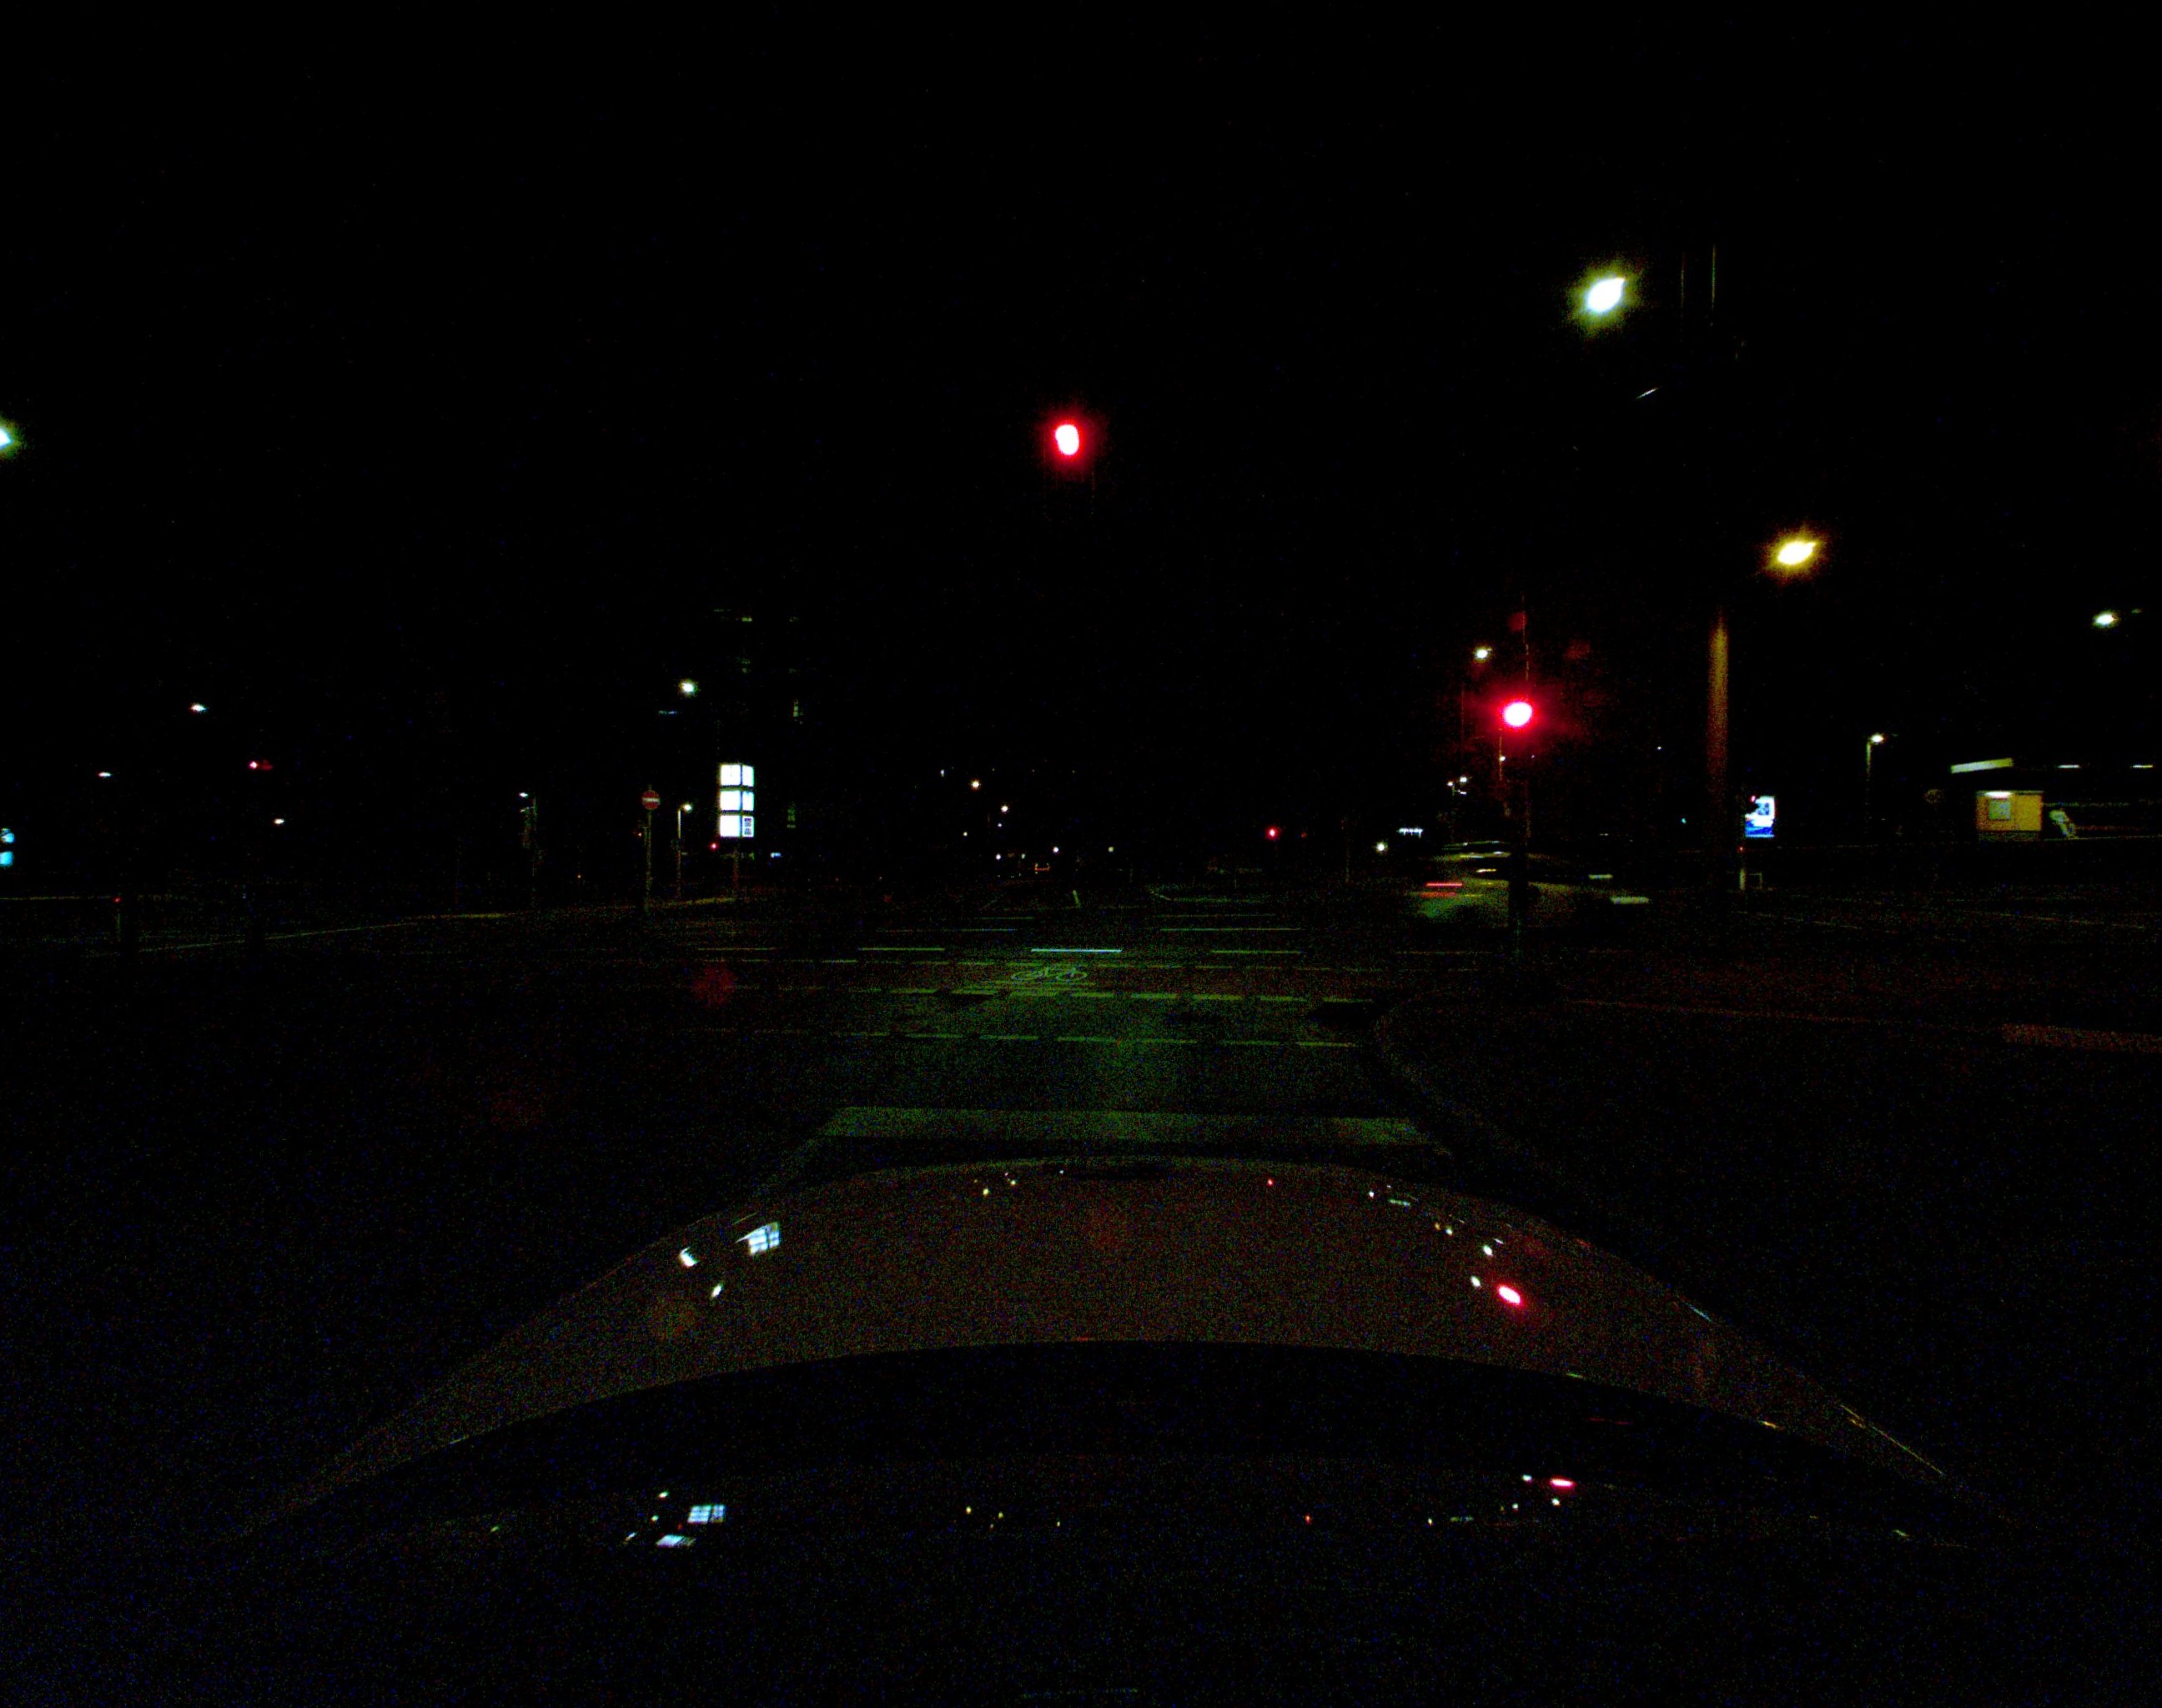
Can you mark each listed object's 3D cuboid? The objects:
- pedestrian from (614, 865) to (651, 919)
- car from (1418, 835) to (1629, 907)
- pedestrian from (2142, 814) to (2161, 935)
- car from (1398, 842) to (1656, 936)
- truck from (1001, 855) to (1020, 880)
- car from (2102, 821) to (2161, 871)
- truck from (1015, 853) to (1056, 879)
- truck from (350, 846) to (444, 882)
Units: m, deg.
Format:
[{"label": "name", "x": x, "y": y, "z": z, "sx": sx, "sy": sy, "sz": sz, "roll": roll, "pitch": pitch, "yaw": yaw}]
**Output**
[{"label": "pedestrian", "x": -13.955, "y": 1.178, "z": 25.368, "sx": 0.667, "sy": 1.634, "sz": 0.862, "roll": 0, "pitch": -1, "yaw": -3}, {"label": "car", "x": 11.340, "y": 0.409, "z": 21.122, "sx": 4.425, "sy": 1.659, "sz": 1.867, "roll": -1, "pitch": 1, "yaw": 4}, {"label": "pedestrian", "x": 15.931, "y": 0.276, "z": 11.481, "sx": 0.752, "sy": 1.745, "sz": 0.834, "roll": -2, "pitch": -2, "yaw": 1}, {"label": "car", "x": 8.383, "y": 0.629, "z": 15.616, "sx": 3.968, "sy": 1.662, "sz": 1.813, "roll": -1, "pitch": 1, "yaw": 5}, {"label": "truck", "x": -10.413, "y": 1.961, "z": 119.836, "sx": 2.580, "sy": 3.707, "sz": 5.723, "roll": 0, "pitch": -1, "yaw": -7}, {"label": "car", "x": 46.638, "y": -0.429, "z": 34.444, "sx": 3.966, "sy": 2.014, "sz": 2.003, "roll": -4, "pitch": -1, "yaw": 6}, {"label": "truck", "x": -8.565, "y": 2.227, "z": 151.644, "sx": 4.835, "sy": 4.547, "sz": 12.591, "roll": 0, "pitch": -1, "yaw": -17}, {"label": "truck", "x": -59.940, "y": 0.884, "z": 71.478, "sx": 5.873, "sy": 3.088, "sz": 2.915, "roll": 0, "pitch": -1, "yaw": 3}]
